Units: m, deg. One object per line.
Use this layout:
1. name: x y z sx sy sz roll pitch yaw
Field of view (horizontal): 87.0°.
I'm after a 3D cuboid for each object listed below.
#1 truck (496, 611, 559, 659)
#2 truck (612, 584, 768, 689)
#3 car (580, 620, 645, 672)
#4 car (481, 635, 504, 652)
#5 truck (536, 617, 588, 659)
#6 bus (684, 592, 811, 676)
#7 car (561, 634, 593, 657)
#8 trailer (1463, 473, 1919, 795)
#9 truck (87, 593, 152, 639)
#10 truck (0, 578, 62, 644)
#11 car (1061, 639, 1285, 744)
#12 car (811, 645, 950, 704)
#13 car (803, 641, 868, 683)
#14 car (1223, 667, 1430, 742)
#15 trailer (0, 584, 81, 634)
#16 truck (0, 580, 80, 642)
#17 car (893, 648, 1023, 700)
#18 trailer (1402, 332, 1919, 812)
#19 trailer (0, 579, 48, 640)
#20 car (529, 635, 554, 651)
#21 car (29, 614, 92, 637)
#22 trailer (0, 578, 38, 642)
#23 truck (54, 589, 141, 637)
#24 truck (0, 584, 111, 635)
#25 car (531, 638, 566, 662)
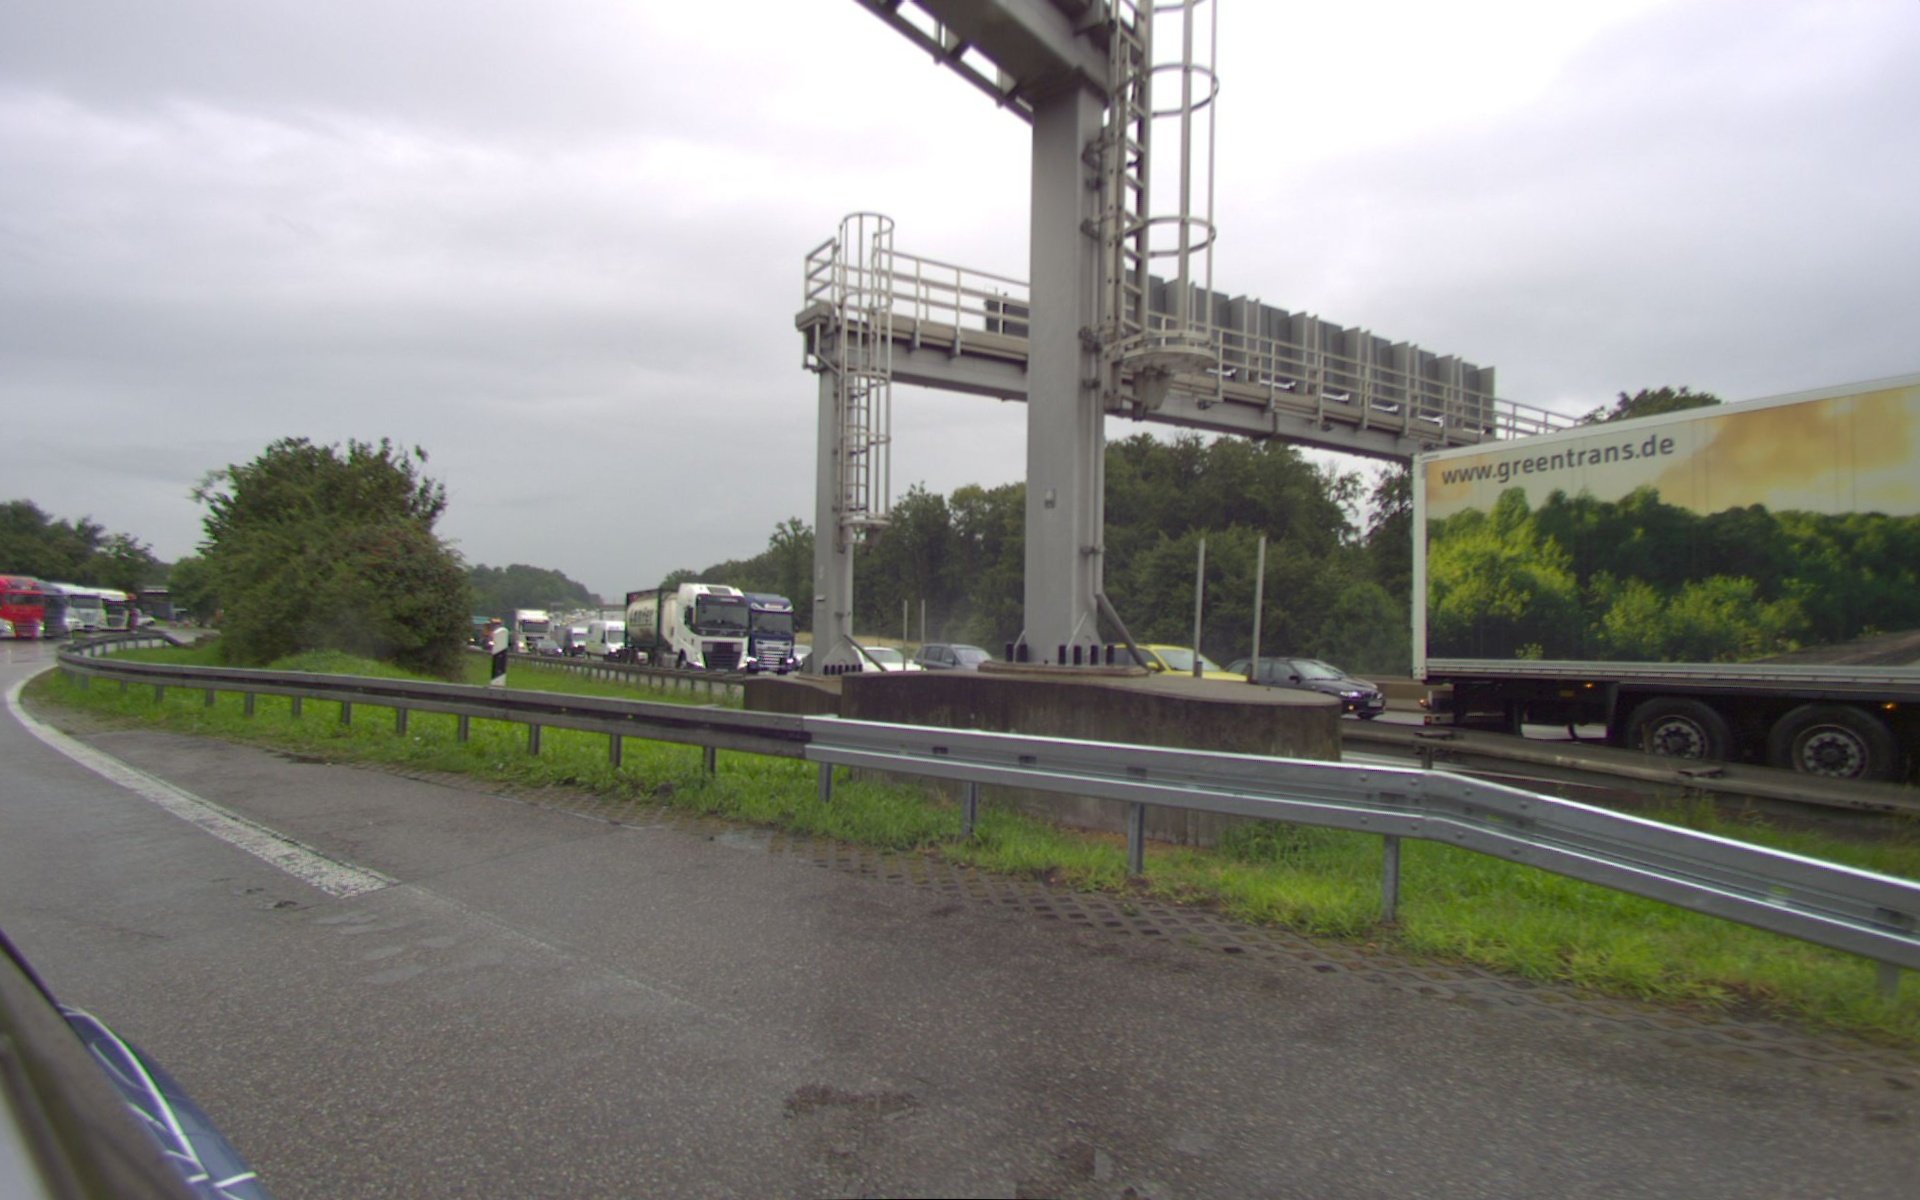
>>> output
1. truck: -37.948 2.926 88.529 3.480 3.876 9.462 -1 0 -33
2. truck: -12.647 1.492 46.058 3.301 4.101 12.609 -1 0 -32
3. car: -19.816 2.522 57.450 2.329 2.663 6.918 -1 0 -29
4. car: -50.131 4.653 108.480 1.788 1.770 4.700 1 -2 -31
5. truck: -38.837 3.615 98.607 2.992 3.704 9.463 -1 0 -32
6. bus: -11.078 1.611 51.725 2.855 3.796 10.460 -1 0 -32
7. car: -33.636 3.994 88.884 1.707 2.029 4.010 2 -3 -34
8. trailer: 13.350 0.417 11.968 2.591 3.894 13.710 3 -4 -34
9. truck: -83.132 1.583 100.130 4.579 4.420 2.598 0 -2 11
10. truck: -60.009 0.676 63.279 4.968 3.949 3.235 1 -2 11
11. car: 4.017 1.674 19.766 1.769 1.807 4.250 2 -3 -34
12. car: -2.388 2.099 29.256 1.901 1.534 4.775 3 -3 -34
13. car: -6.094 2.959 49.115 1.597 1.794 4.012 -1 0 -32
14. car: 8.920 2.489 25.046 1.966 1.542 4.552 2 -3 -33
15. trailer: -83.449 0.720 87.743 13.388 4.122 3.235 1 -2 11
16. truck: -62.807 0.703 67.377 6.485 3.949 2.889 1 -2 11
17. car: -0.154 2.348 32.863 1.901 1.534 4.775 3 -3 -34
18. trailer: 10.661 -0.253 8.192 2.878 4.237 13.672 3 -3 -33
19. trailer: -69.053 0.526 68.590 13.786 3.949 2.866 1 -2 11
20. car: -45.862 4.717 110.809 1.792 1.675 3.998 2 -3 -33
21. car: -73.450 2.077 82.669 3.960 1.872 1.841 0 -2 13
22. trailer: -66.565 0.512 64.557 14.672 3.949 3.235 1 -2 11
23. truck: -80.952 1.225 95.003 5.751 4.420 3.235 0 -2 11
24. truck: -77.588 0.818 86.596 7.853 4.122 3.235 1 -2 11
25. car: -31.146 3.776 76.586 1.789 1.697 4.011 1 -2 -33
